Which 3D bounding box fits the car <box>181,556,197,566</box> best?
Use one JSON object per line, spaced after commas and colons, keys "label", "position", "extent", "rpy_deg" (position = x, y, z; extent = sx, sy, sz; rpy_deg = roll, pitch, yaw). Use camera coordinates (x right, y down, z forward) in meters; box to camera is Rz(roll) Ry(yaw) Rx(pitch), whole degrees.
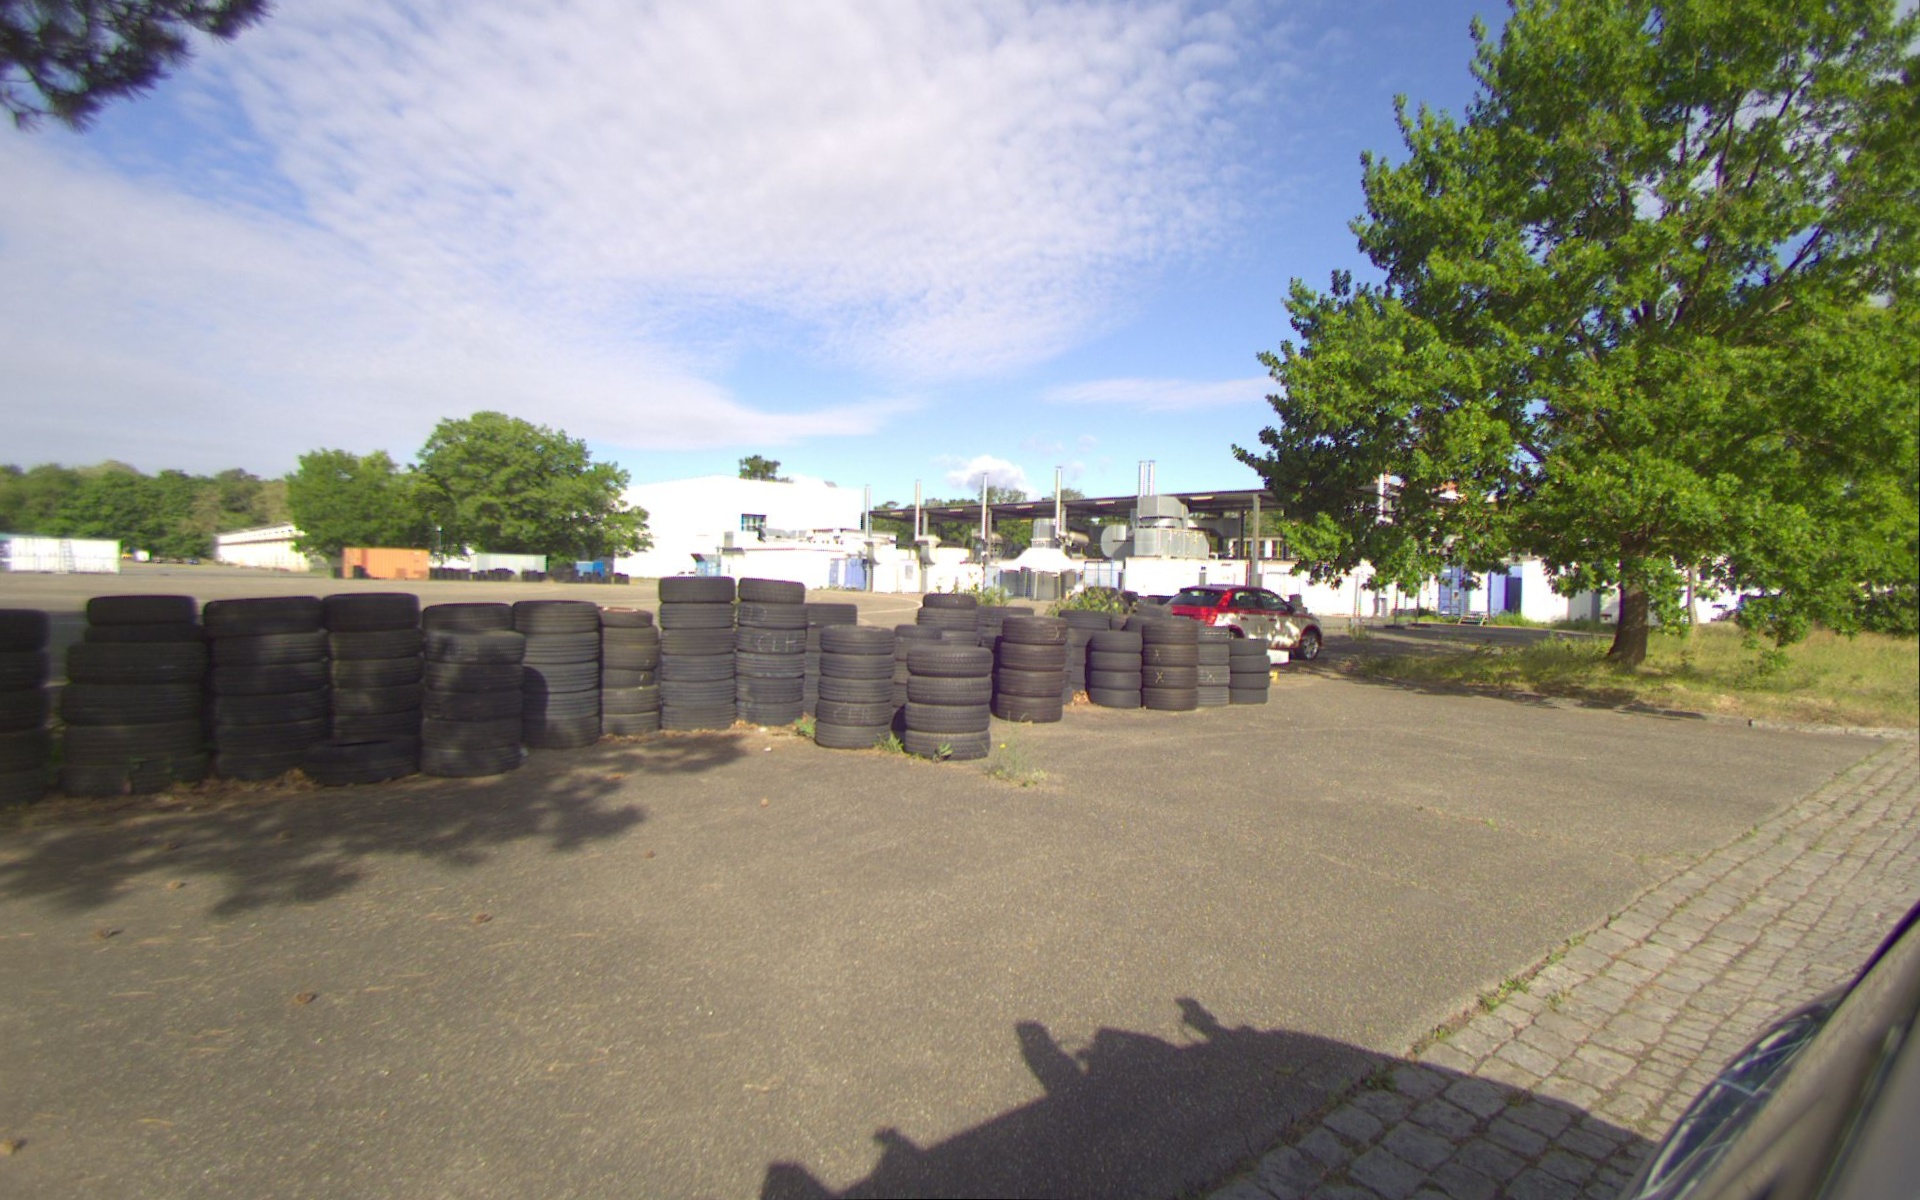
{"label": "car", "position": [-149.840, -7.638, 196.729], "extent": [1.967, 1.771, 3.991], "rpy_deg": [1, 1, -44]}

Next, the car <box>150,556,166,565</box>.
{"label": "car", "position": [-153.240, -7.531, 193.412], "extent": [1.967, 1.771, 3.991], "rpy_deg": [1, 1, -44]}

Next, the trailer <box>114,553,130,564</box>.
{"label": "trailer", "position": [-159.098, -7.844, 192.127], "extent": [1.966, 2.039, 3.992], "rpy_deg": [1, 1, -43]}

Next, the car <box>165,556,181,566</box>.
{"label": "car", "position": [-151.700, -7.555, 195.052], "extent": [2.004, 1.831, 3.991], "rpy_deg": [1, 2, -44]}

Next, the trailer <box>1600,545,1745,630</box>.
{"label": "trailer", "position": [32.590, -0.521, 46.090], "extent": [9.724, 3.514, 2.924], "rpy_deg": [1, 1, -40]}

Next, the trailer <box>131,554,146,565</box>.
{"label": "trailer", "position": [-156.414, -7.737, 192.750], "extent": [2.029, 2.039, 3.993], "rpy_deg": [1, 1, -42]}

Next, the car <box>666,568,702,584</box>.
{"label": "car", "position": [-29.736, -2.624, 109.073], "extent": [1.844, 1.584, 4.538], "rpy_deg": [1, 2, -43]}

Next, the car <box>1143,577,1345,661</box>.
{"label": "car", "position": [5.662, 0.344, 20.048], "extent": [3.924, 1.482, 1.728], "rpy_deg": [1, 1, -35]}
